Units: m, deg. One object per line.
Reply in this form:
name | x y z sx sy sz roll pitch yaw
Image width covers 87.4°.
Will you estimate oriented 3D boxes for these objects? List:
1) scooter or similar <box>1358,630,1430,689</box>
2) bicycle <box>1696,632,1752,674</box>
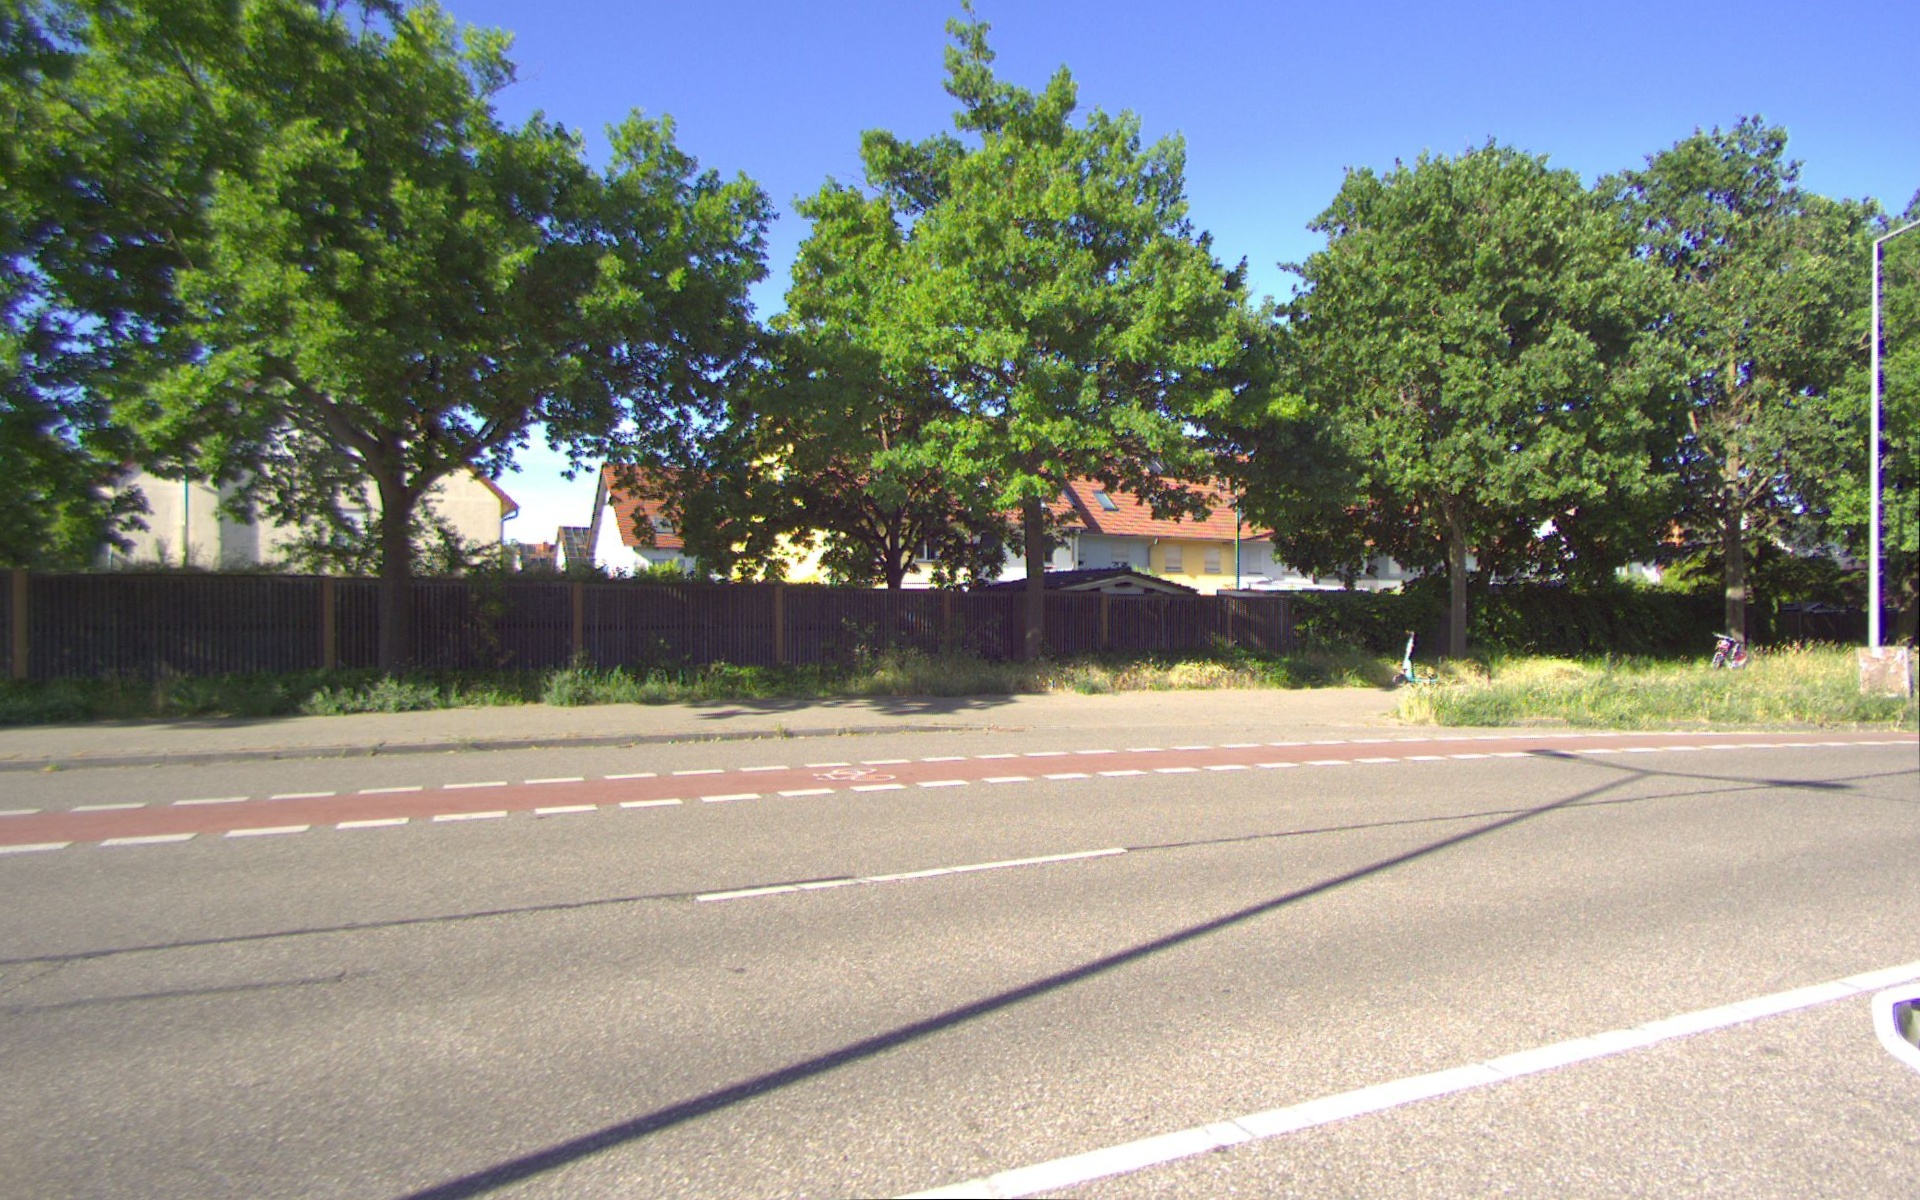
scooter or similar | 9.514 1.286 22.016 1.389 1.235 0.539 0 1 -13
bicycle | 20.282 1.398 26.663 1.857 1.067 0.503 1 -1 -29
